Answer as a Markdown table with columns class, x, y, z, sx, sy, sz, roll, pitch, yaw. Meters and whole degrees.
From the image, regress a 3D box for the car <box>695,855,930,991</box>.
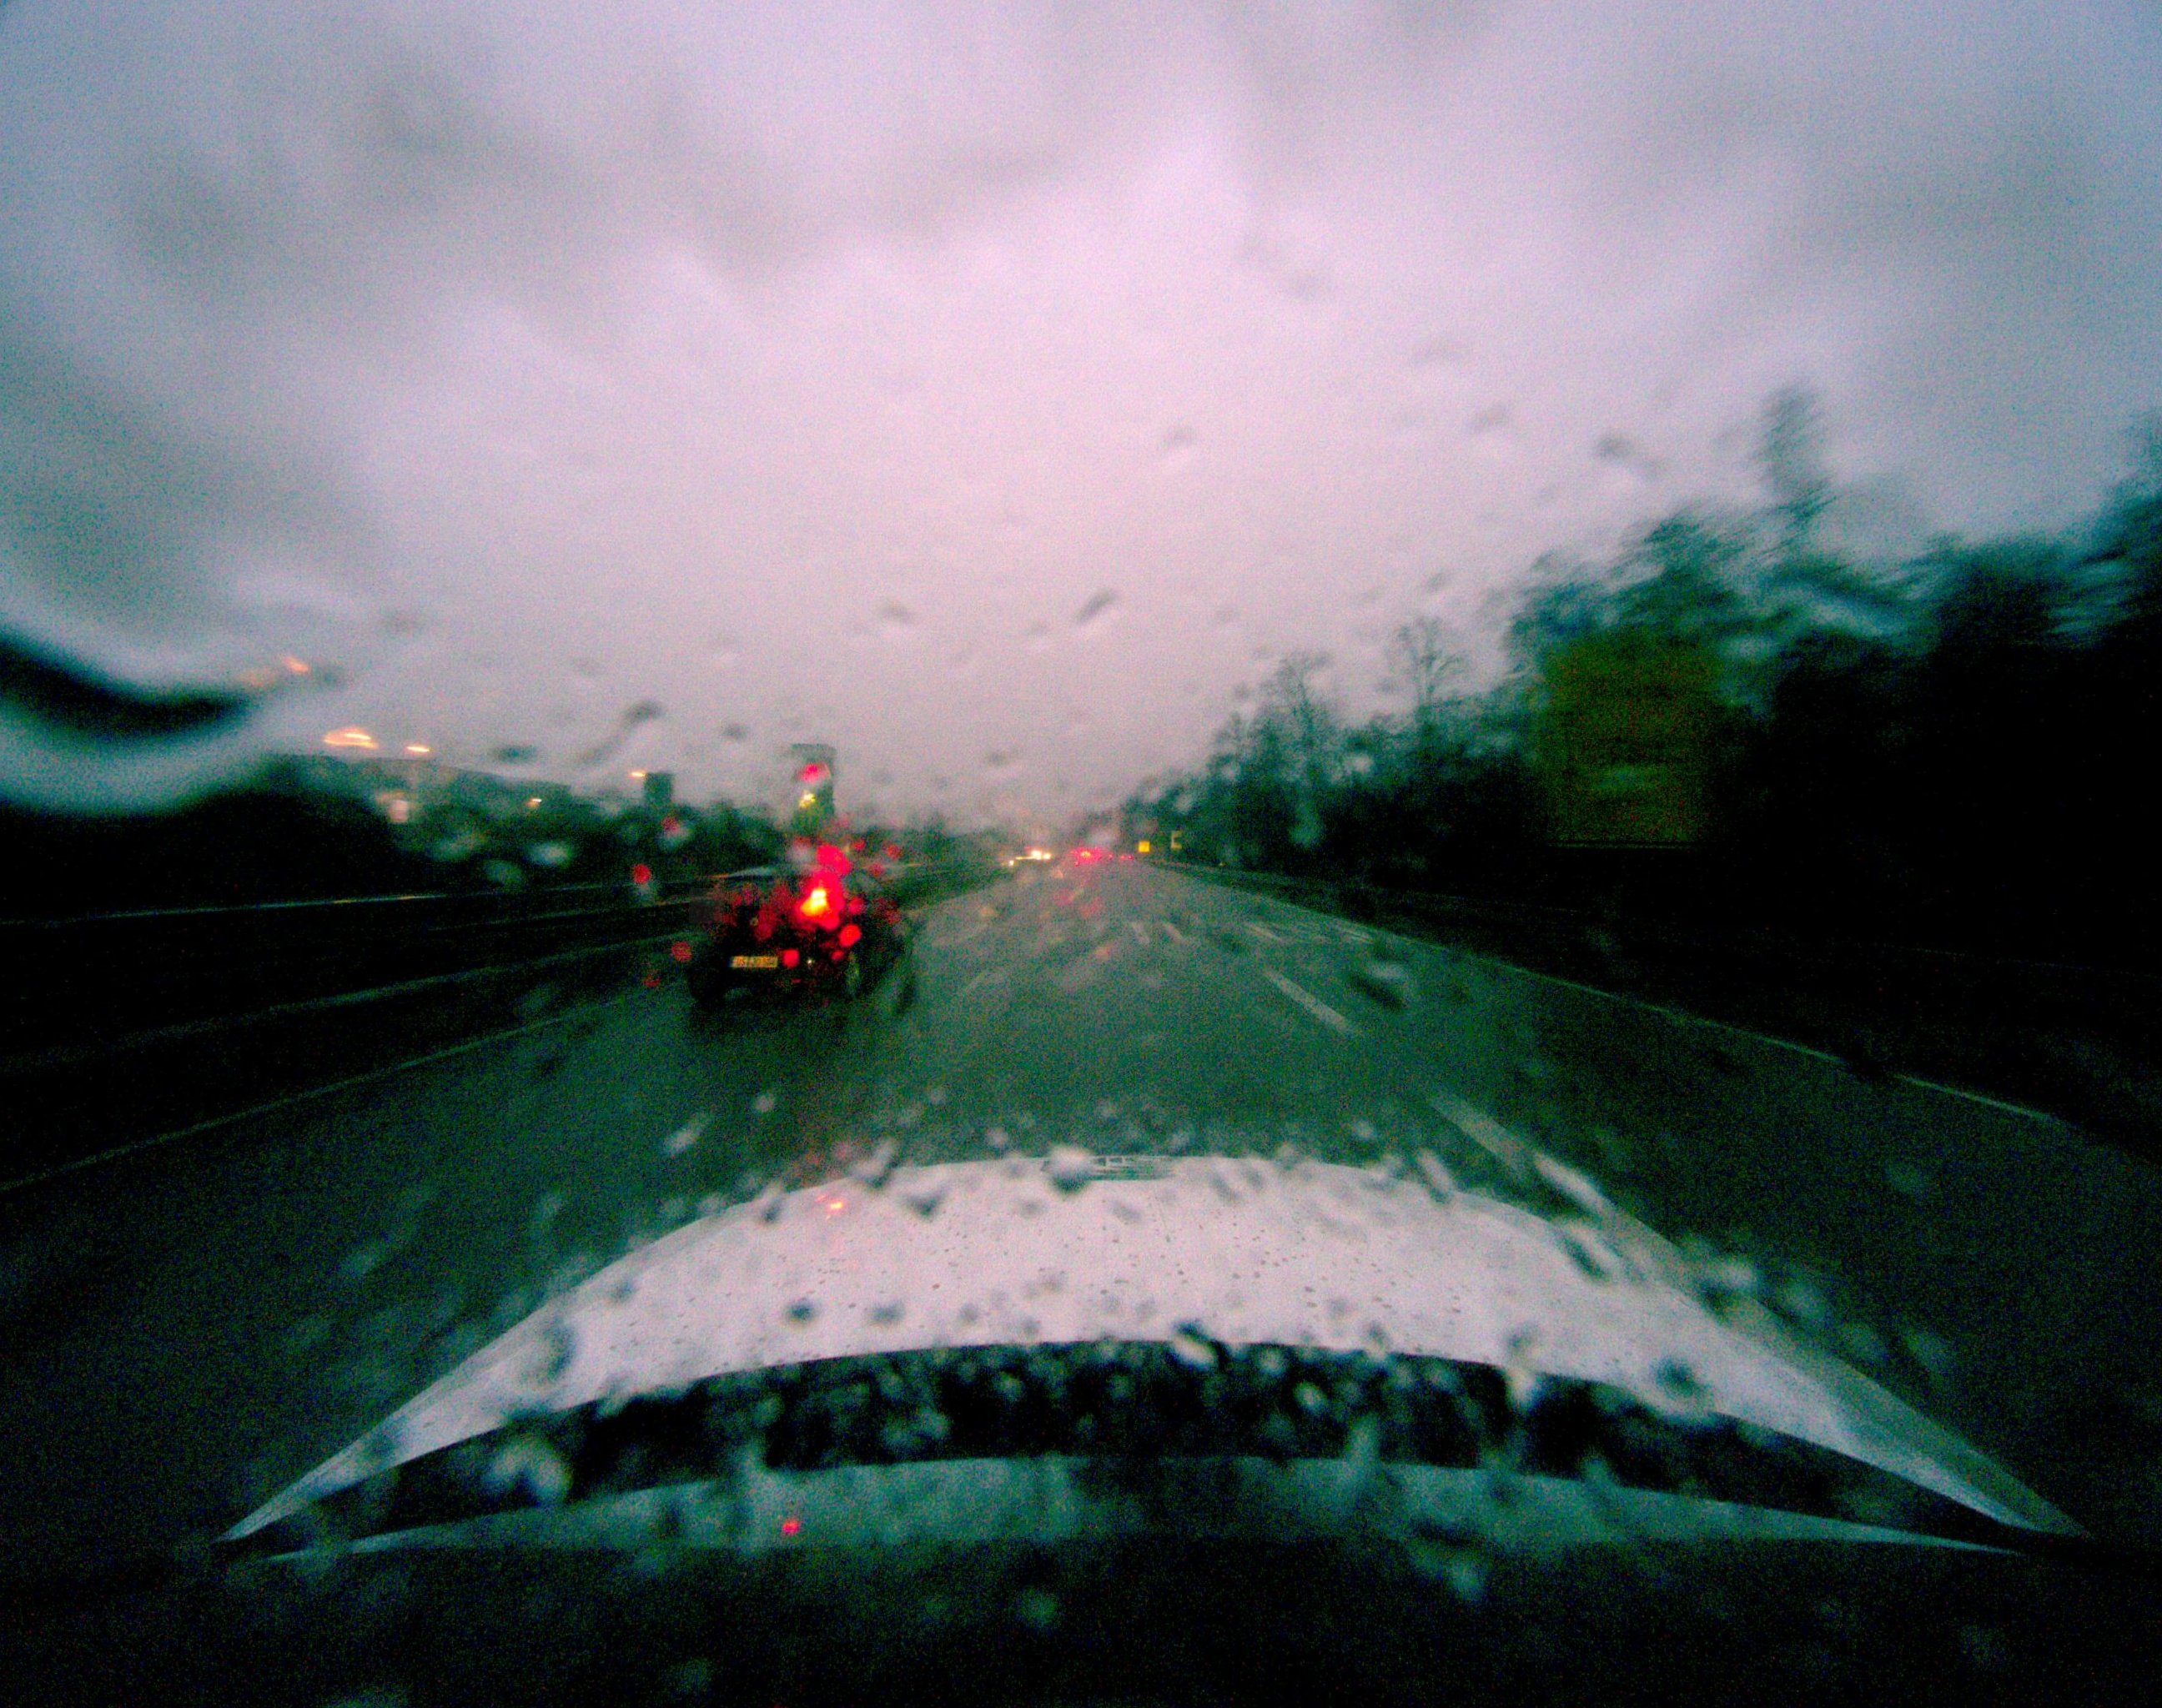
| class | x | y | z | sx | sy | sz | roll | pitch | yaw |
| --- | --- | --- | --- | --- | --- | --- | --- | --- | --- |
| car | -3.181 | 0.734 | 10.532 | 1.620 | 1.392 | 4.000 | 1 | 0 | 1 |

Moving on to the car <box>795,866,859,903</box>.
| class | x | y | z | sx | sy | sz | roll | pitch | yaw |
| --- | --- | --- | --- | --- | --- | --- | --- | --- | --- |
| car | -12.474 | 1.456 | 40.239 | 1.734 | 1.640 | 4.002 | -1 | 0 | 2 |

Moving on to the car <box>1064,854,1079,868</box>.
| class | x | y | z | sx | sy | sz | roll | pitch | yaw |
| --- | --- | --- | --- | --- | --- | --- | --- | --- | --- |
| car | -0.923 | 0.718 | 80.391 | 1.410 | 1.317 | 3.084 | 1 | 0 | 2 |
